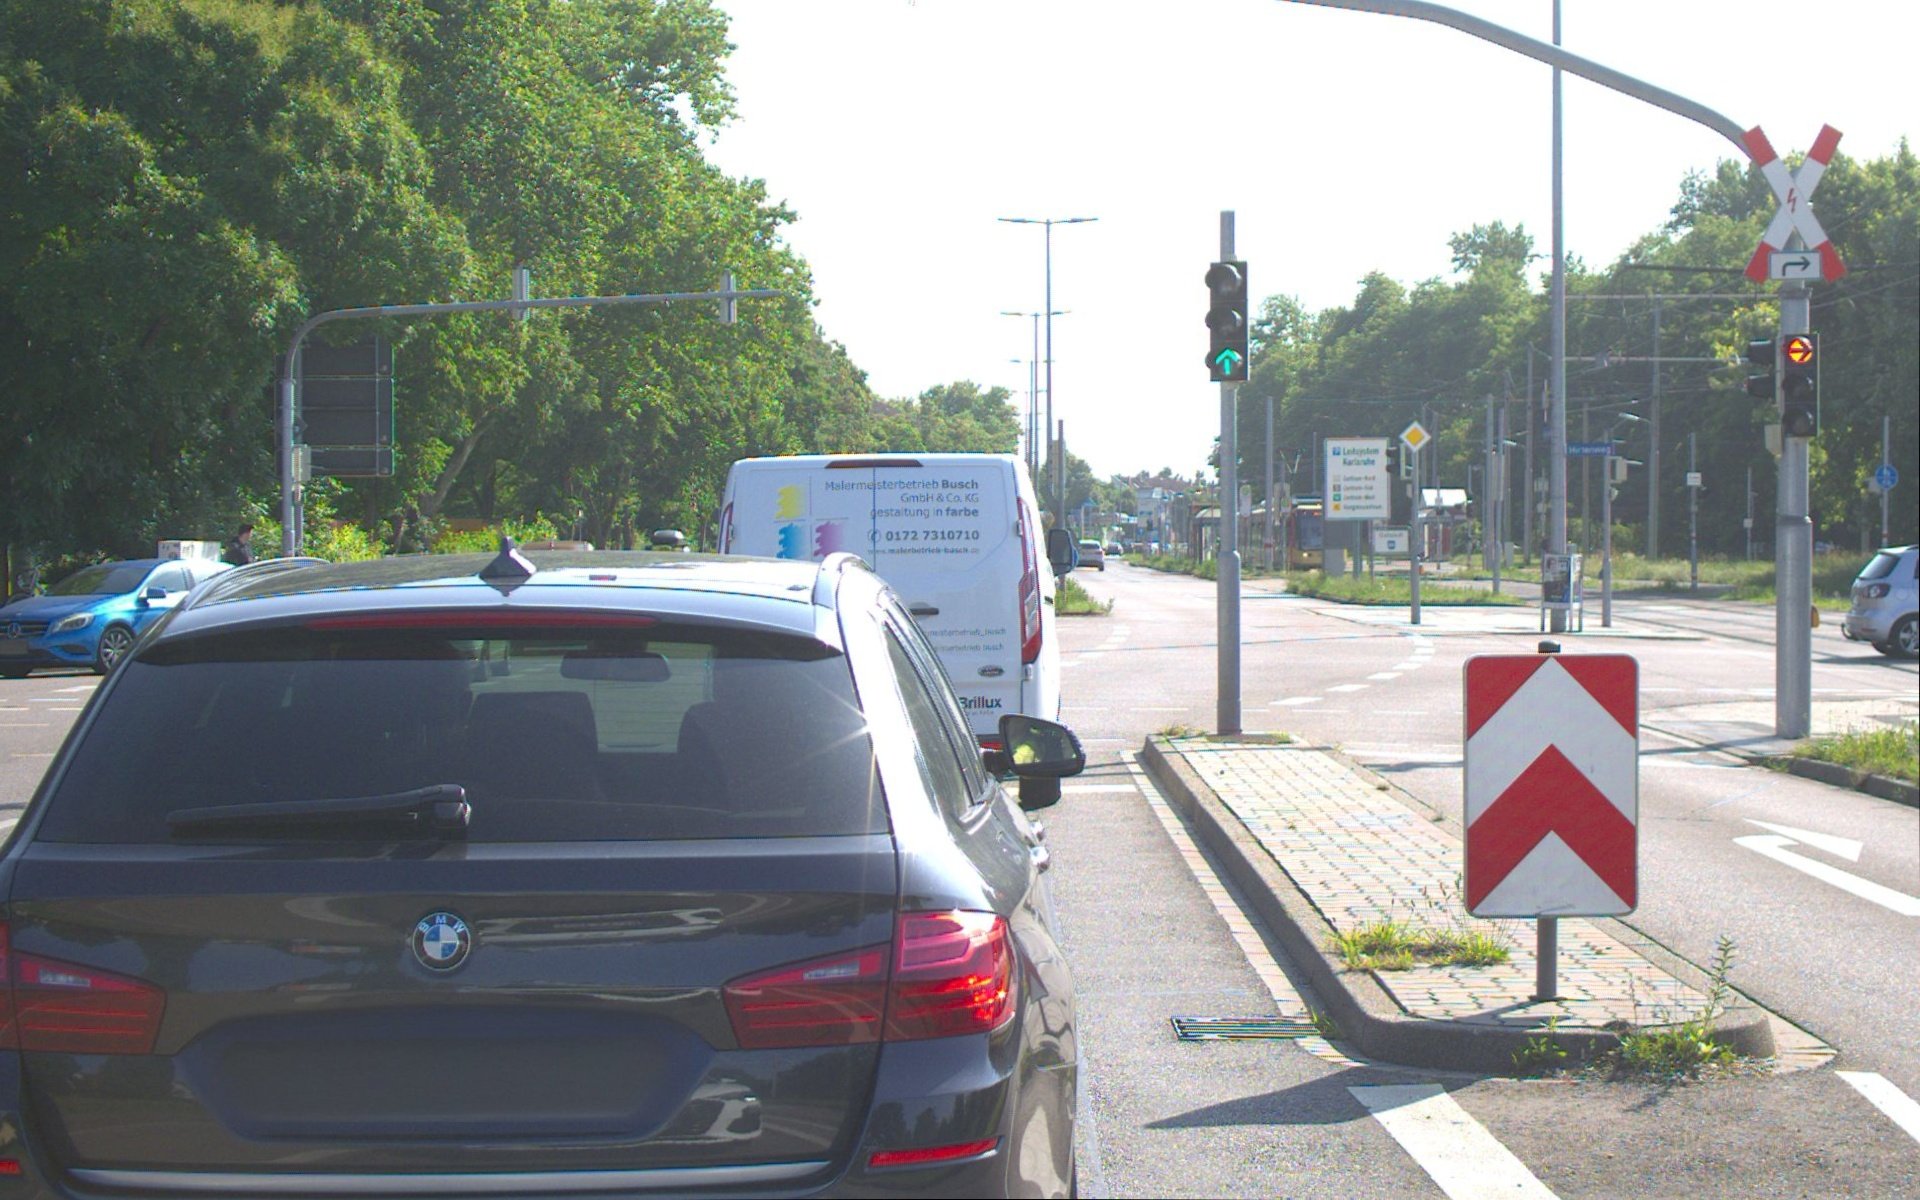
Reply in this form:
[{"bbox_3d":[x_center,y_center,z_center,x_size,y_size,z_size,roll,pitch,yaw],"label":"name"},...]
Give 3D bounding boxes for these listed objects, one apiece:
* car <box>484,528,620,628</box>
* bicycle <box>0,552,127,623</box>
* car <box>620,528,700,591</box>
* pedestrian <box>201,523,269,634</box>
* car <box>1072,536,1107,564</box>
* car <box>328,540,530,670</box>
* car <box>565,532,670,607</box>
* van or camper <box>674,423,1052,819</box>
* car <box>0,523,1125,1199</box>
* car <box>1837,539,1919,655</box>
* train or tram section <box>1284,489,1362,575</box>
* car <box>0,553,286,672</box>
[{"bbox_3d":[-6.813,-0.396,57.721,1.745,1.556,4.000,-2,1,0],"label":"car"},{"bbox_3d":[-14.273,-0.202,54.664,1.909,1.115,0.632,0,1,0],"label":"bicycle"},{"bbox_3d":[-7.452,-1.023,85.631,1.788,1.515,4.001,-1,1,-2],"label":"car"},{"bbox_3d":[-11.519,-0.352,54.633,0.816,1.746,0.931,0,1,5],"label":"pedestrian"},{"bbox_3d":[6.853,-2.679,182.398,1.793,1.481,3.899,0,1,2],"label":"car"},{"bbox_3d":[-6.507,0.017,42.547,1.702,1.460,4.369,-2,1,1],"label":"car"},{"bbox_3d":[-7.005,-0.646,70.679,1.888,1.469,4.100,-1,1,-2],"label":"car"},{"bbox_3d":[-0.475,0.064,20.446,1.993,2.089,4.598,0,1,1],"label":"van or camper"},{"bbox_3d":[-0.746,0.607,6.676,1.903,1.500,4.065,0,1,0],"label":"car"},{"bbox_3d":[14.267,-0.056,46.918,4.191,1.557,1.856,0,1,5],"label":"car"},{"bbox_3d":[16.059,-2.949,152.726,2.796,3.606,12.954,1,1,3],"label":"train or tram section"},{"bbox_3d":[-10.584,0.121,43.697,1.782,1.410,4.239,0,1,26],"label":"car"}]
